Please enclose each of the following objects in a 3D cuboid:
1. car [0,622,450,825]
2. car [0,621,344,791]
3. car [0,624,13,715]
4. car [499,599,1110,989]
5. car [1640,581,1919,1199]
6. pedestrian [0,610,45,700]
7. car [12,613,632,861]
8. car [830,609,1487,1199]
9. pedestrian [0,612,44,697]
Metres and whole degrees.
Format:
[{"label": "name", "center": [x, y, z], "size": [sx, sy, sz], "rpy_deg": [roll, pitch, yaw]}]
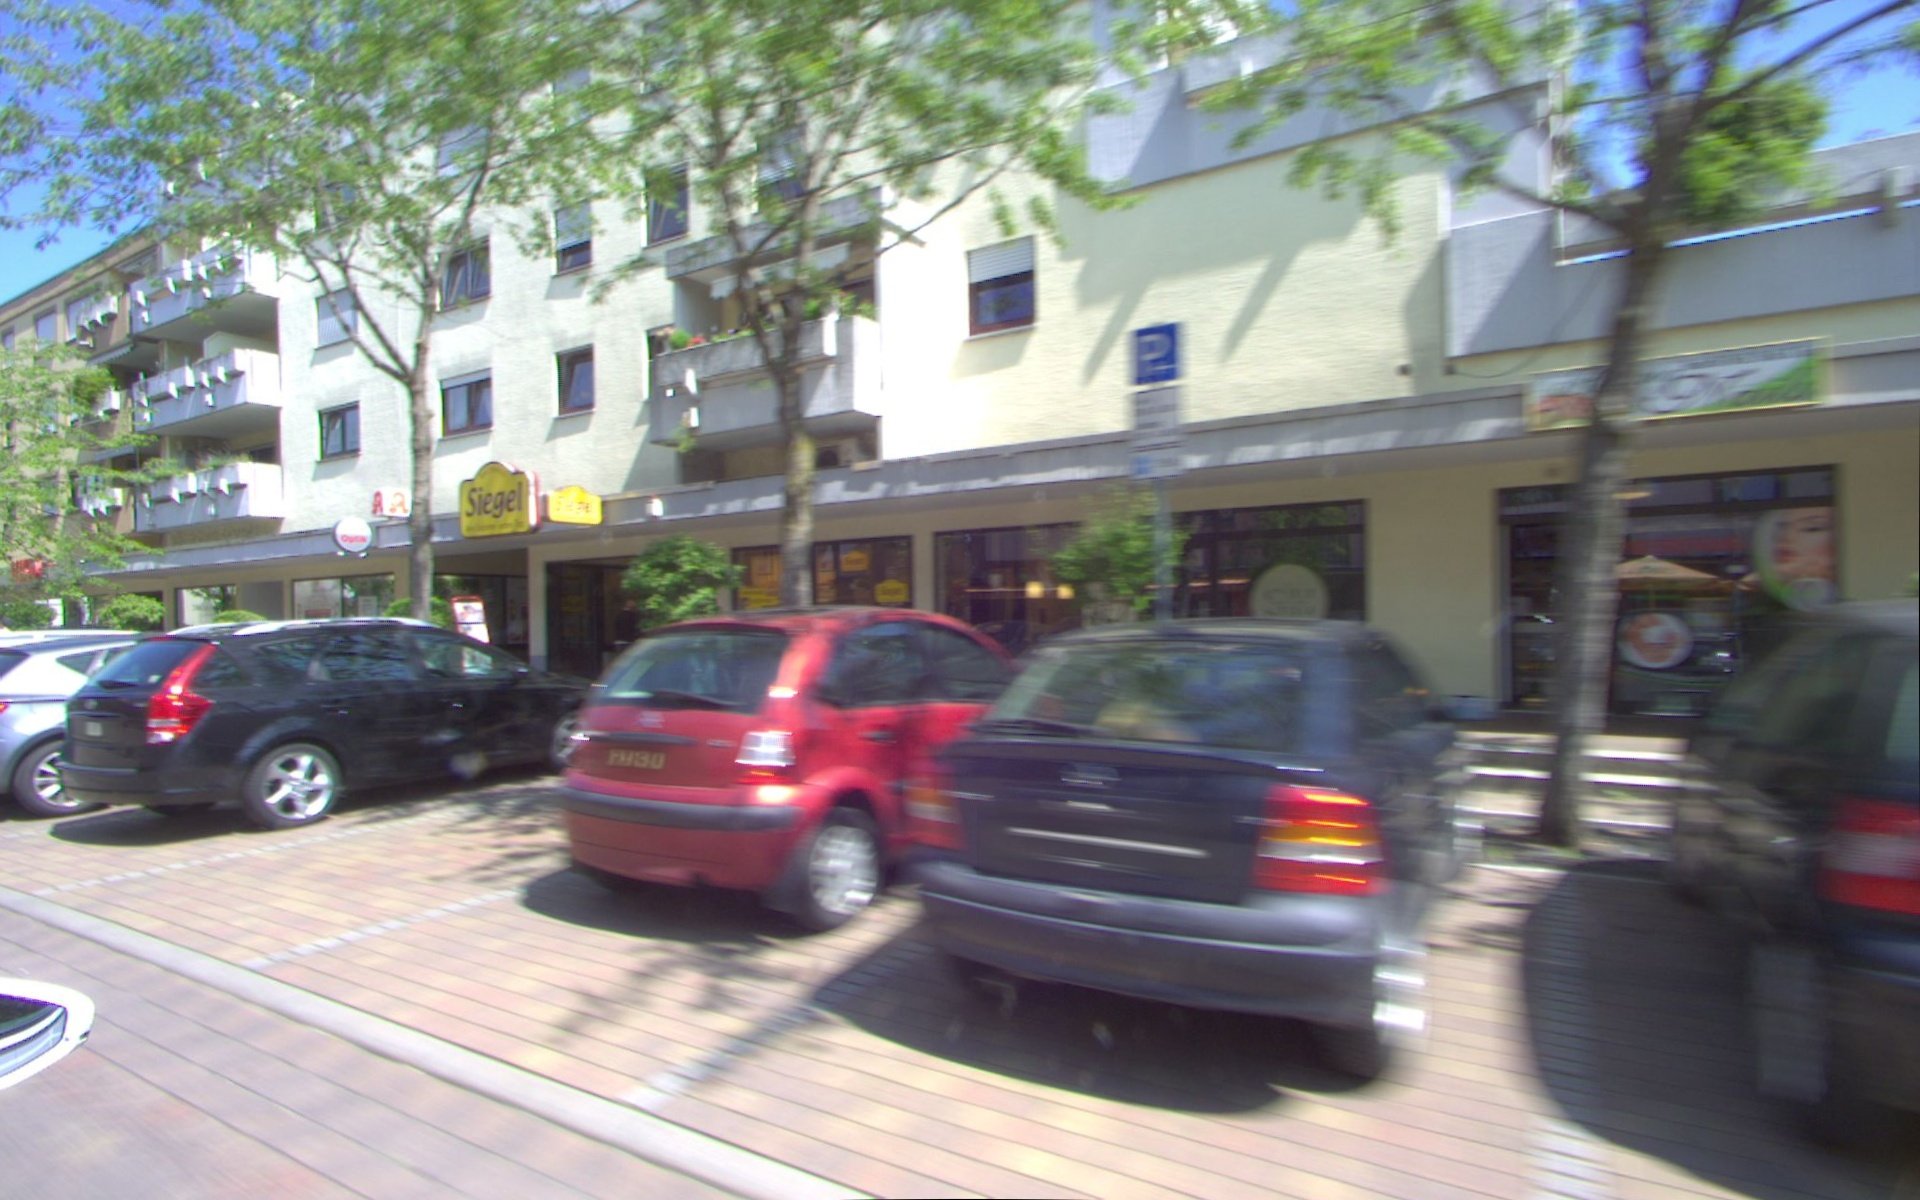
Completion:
[{"label": "car", "center": [-7.227, 1.006, 9.501], "size": [1.693, 1.509, 3.924], "rpy_deg": [-1, -1, 36]}, {"label": "car", "center": [-9.392, 1.057, 10.999], "size": [1.734, 1.594, 4.144], "rpy_deg": [0, 0, 33]}, {"label": "car", "center": [-18.837, 1.246, 16.655], "size": [1.535, 1.636, 4.238], "rpy_deg": [-1, -1, 30]}, {"label": "car", "center": [-0.608, 0.816, 6.184], "size": [1.740, 1.555, 3.716], "rpy_deg": [-1, 1, 31]}, {"label": "car", "center": [3.662, 0.699, 3.539], "size": [1.746, 1.530, 3.953], "rpy_deg": [-1, 0, 30]}, {"label": "pedestrian", "center": [-19.383, 1.103, 20.549], "size": [0.798, 1.810, 0.832], "rpy_deg": [0, 0, 44]}, {"label": "car", "center": [-5.148, 0.927, 8.764], "size": [1.916, 1.561, 4.179], "rpy_deg": [-1, -1, 27]}, {"label": "car", "center": [1.360, 0.817, 4.677], "size": [1.757, 1.450, 4.089], "rpy_deg": [0, 1, 31]}, {"label": "pedestrian", "center": [-20.587, 1.160, 21.699], "size": [0.793, 1.810, 0.837], "rpy_deg": [0, 0, 25]}]
